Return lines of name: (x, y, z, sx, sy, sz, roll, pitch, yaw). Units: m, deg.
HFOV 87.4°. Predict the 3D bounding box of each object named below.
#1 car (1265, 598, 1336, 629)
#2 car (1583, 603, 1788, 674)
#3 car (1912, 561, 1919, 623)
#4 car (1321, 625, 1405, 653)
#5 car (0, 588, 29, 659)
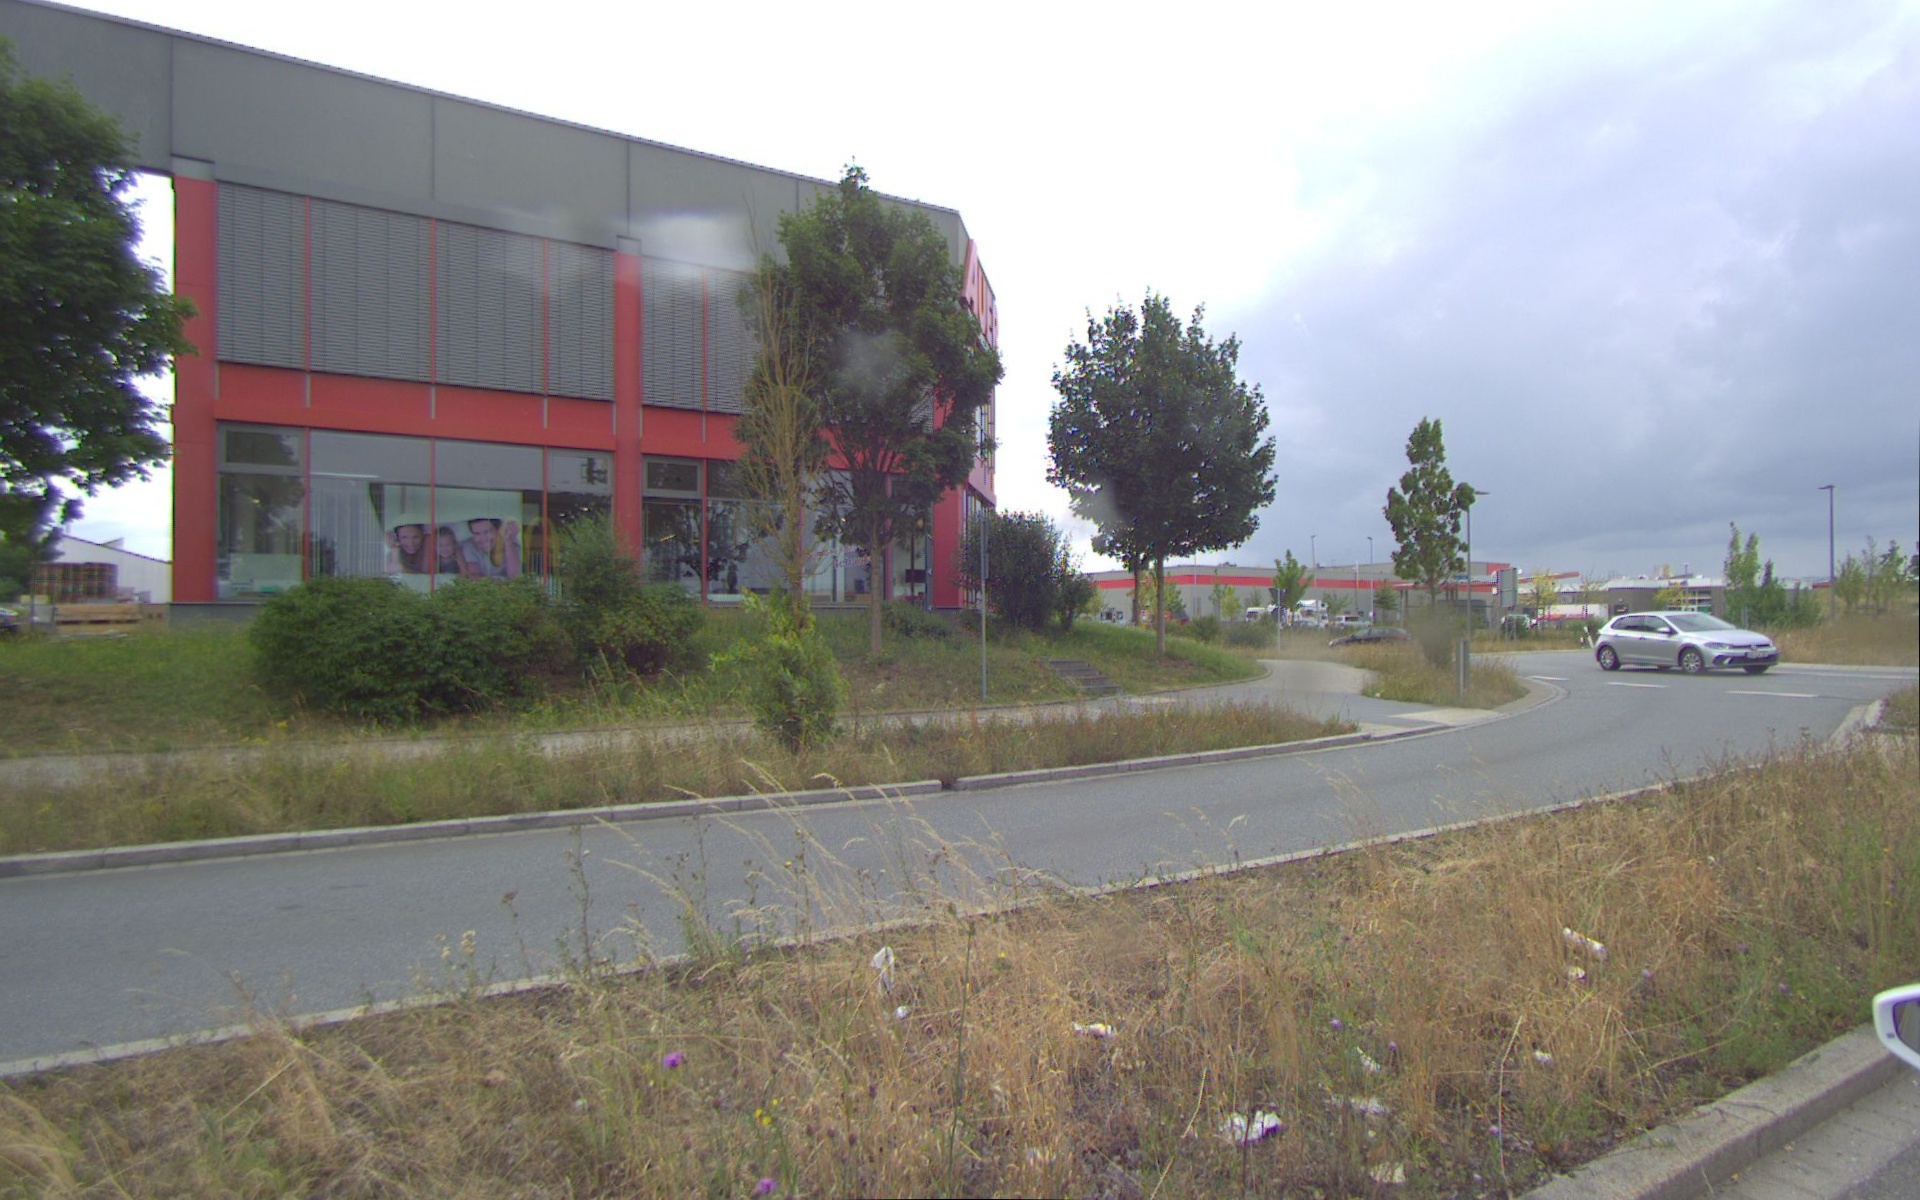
car: (33.532, 1.316, 98.821, 7.606, 2.857, 2.449, 2, 0, -33)
car: (17.077, 0.914, 23.918, 1.779, 1.483, 3.999, -2, -2, -3)
car: (40.048, -0.254, 37.918, 5.616, 2.419, 2.274, 1, 0, 35)
car: (20.568, 1.976, 51.276, 3.781, 1.342, 1.467, -1, -2, 32)
car: (-19.019, 0.394, 18.237, 2.826, 1.287, 1.253, 2, 0, -29)
